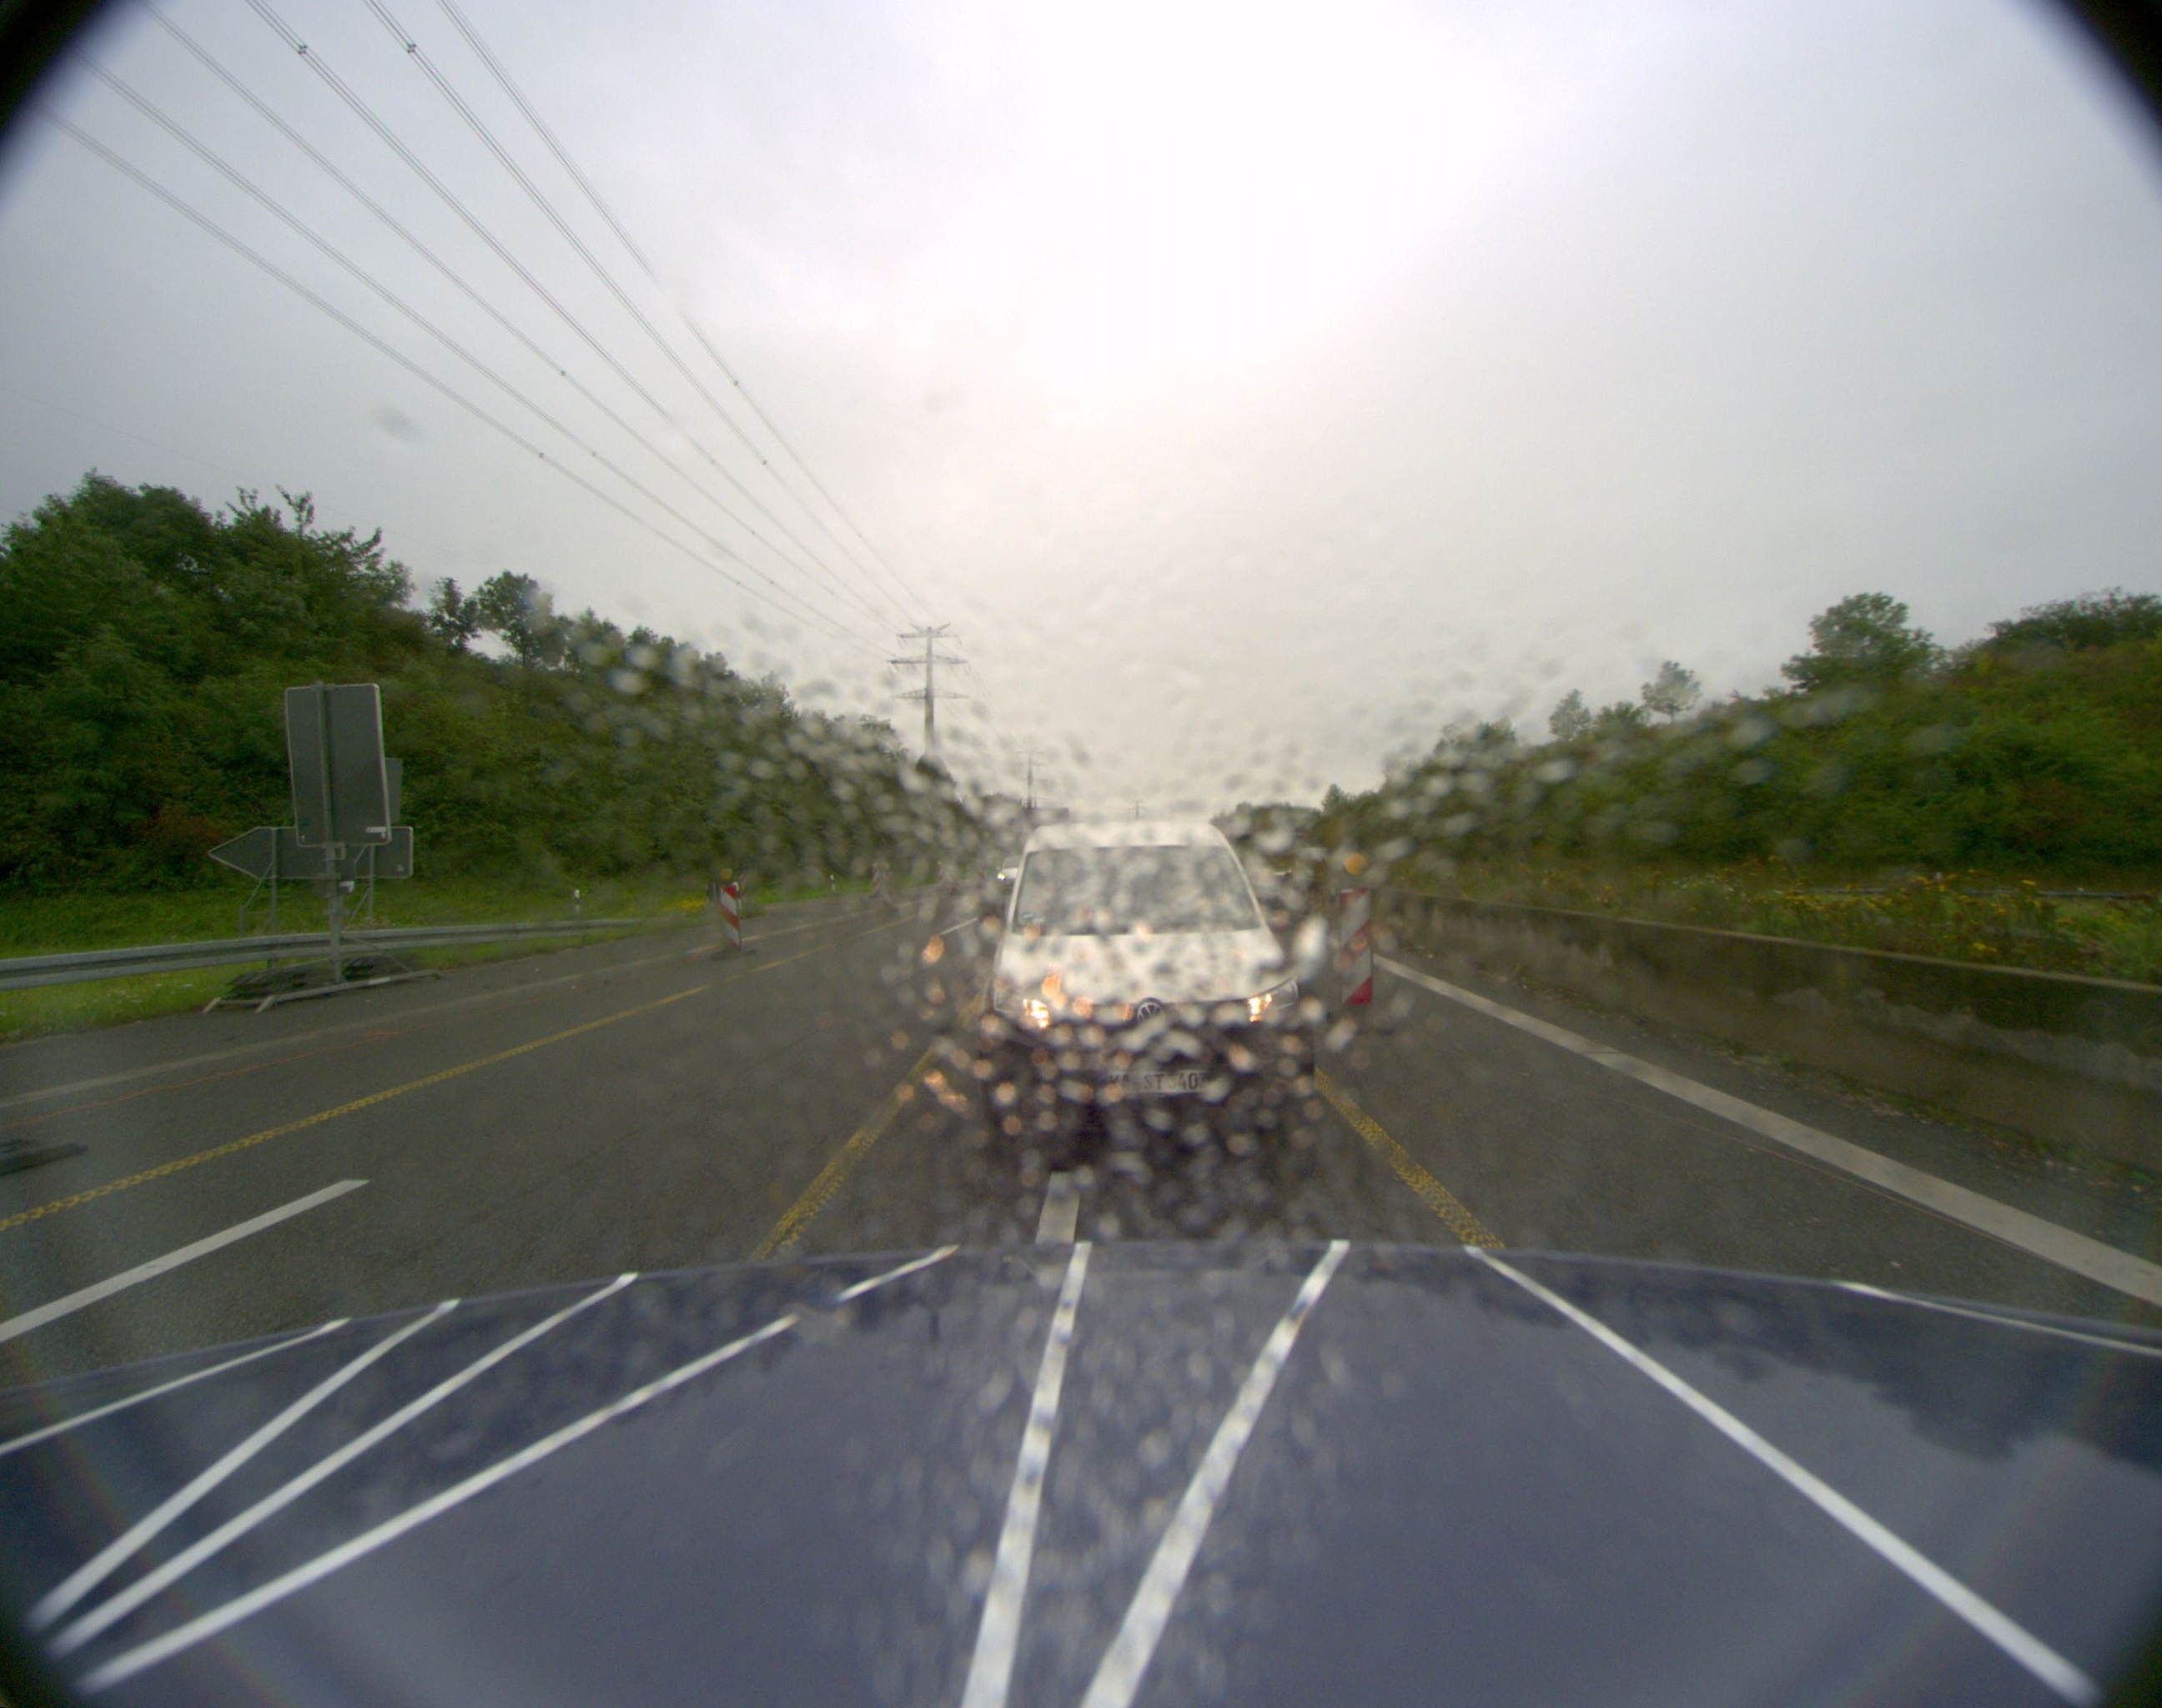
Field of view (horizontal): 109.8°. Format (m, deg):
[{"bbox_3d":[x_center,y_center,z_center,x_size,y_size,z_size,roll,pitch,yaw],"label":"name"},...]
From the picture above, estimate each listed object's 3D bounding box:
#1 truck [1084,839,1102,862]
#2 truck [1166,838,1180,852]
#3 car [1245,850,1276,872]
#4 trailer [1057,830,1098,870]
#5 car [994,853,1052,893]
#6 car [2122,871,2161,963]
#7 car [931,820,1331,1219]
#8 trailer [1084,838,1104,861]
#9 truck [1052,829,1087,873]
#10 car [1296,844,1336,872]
[{"bbox_3d":[2.150,-0.716,134.392,2.747,3.912,5.398,-2,1,4],"label":"truck"},{"bbox_3d":[29.362,-2.904,243.354,3.414,4.498,17.288,-1,1,3],"label":"truck"},{"bbox_3d":[17.572,0.682,74.579,1.998,2.035,4.779,0,0,2],"label":"car"},{"bbox_3d":[-0.210,-0.499,78.494,2.524,3.812,12.355,-2,1,7],"label":"trailer"},{"bbox_3d":[-2.565,0.817,35.009,2.051,1.587,5.801,-2,0,1],"label":"car"},{"bbox_3d":[18.396,1.015,10.663,1.998,1.471,4.109,0,0,2],"label":"car"},{"bbox_3d":[0.254,0.761,5.816,1.770,1.774,4.647,-2,0,1],"label":"car"},{"bbox_3d":[2.555,-0.925,141.413,2.808,3.980,14.151,-2,1,4],"label":"trailer"},{"bbox_3d":[-1.050,-0.325,72.221,2.552,3.924,4.002,-2,1,8],"label":"truck"},{"bbox_3d":[21.596,0.362,70.145,2.245,2.426,5.885,0,0,4],"label":"car"}]
